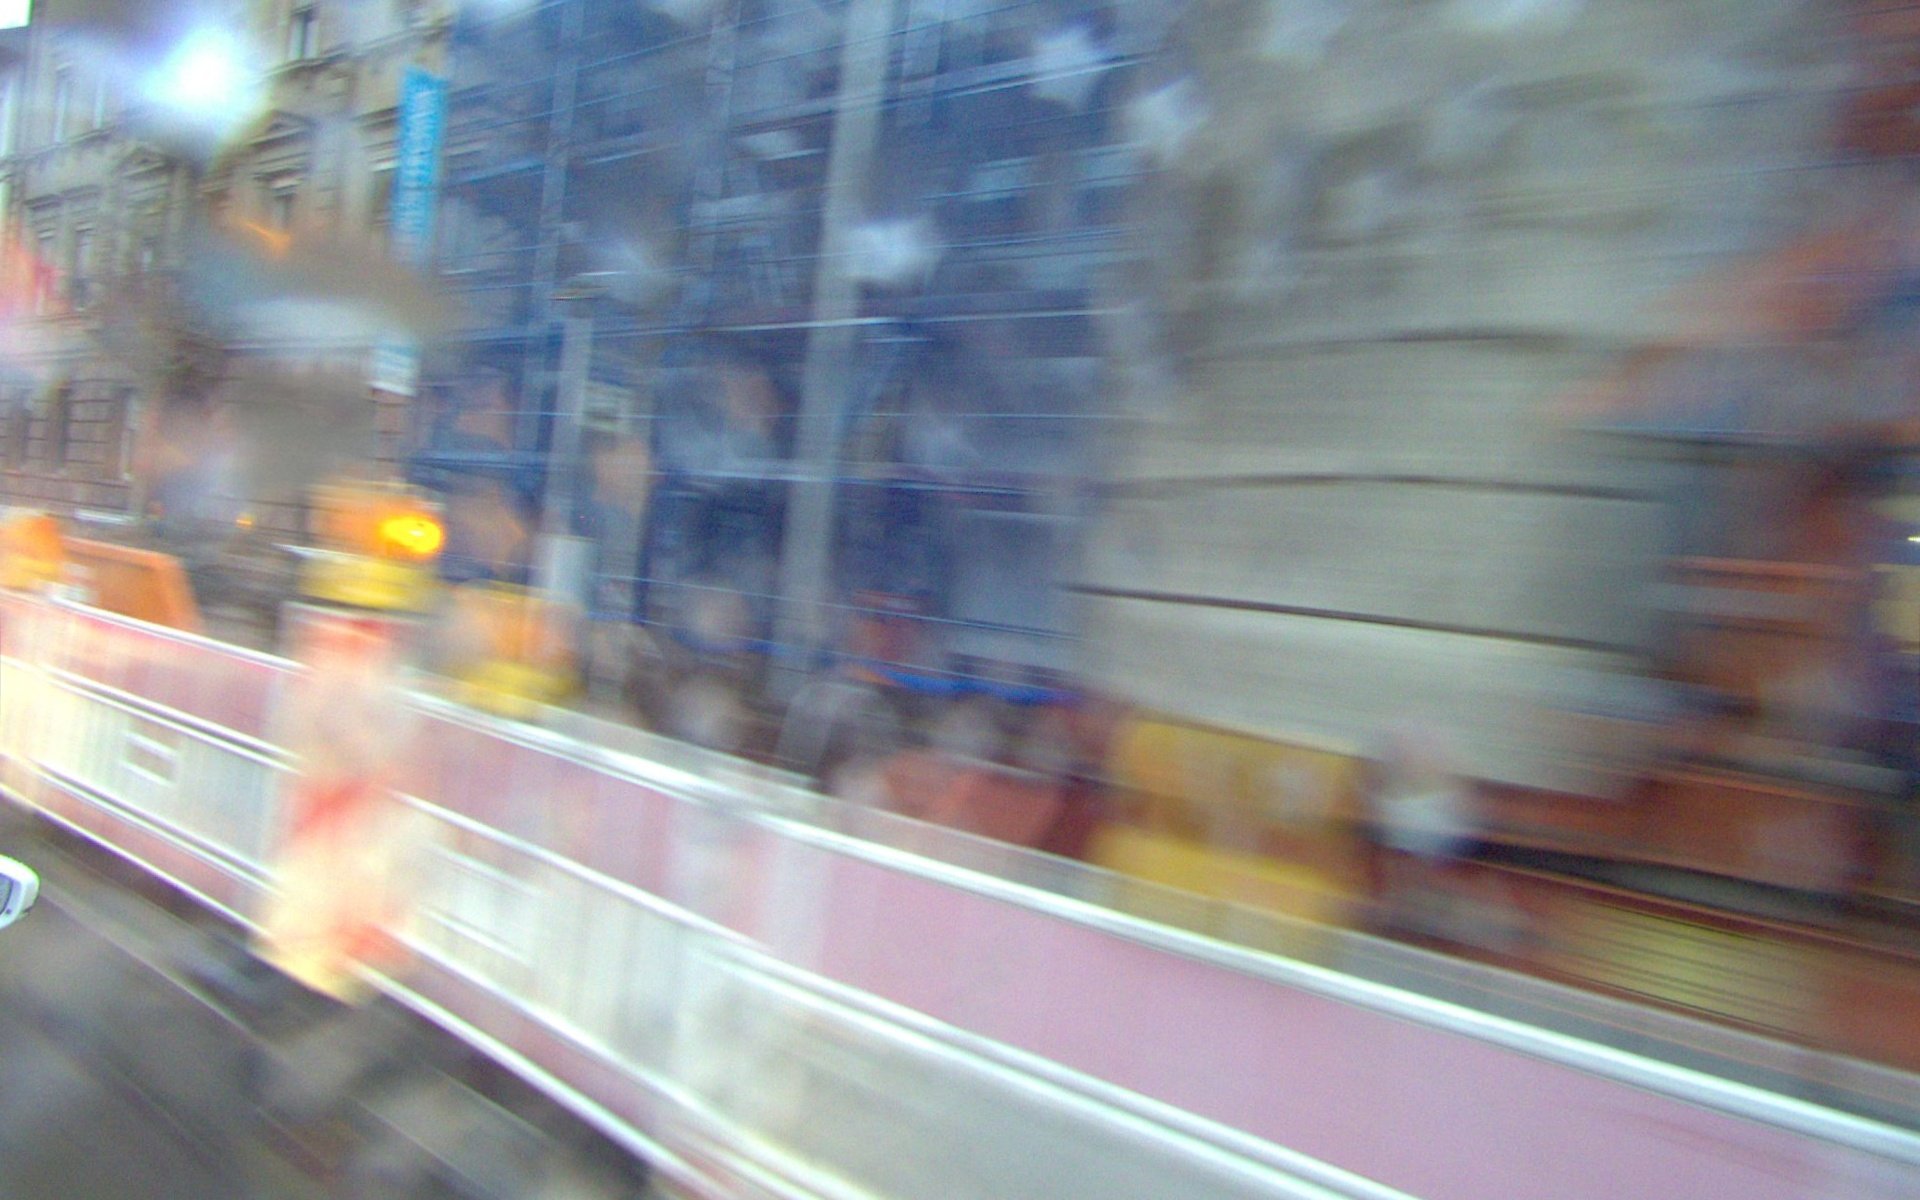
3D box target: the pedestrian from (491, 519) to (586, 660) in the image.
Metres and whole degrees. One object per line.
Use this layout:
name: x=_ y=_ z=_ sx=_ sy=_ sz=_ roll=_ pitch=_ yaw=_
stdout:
pedestrian: x=-5.190 y=-0.120 z=12.401 sx=0.640 sy=1.643 sz=0.711 roll=7 pitch=3 yaw=30

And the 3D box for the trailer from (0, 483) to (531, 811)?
trailer: x=-5.393 y=0.118 z=7.034 sx=4.766 sy=1.508 sz=1.838 roll=7 pitch=0 yaw=31

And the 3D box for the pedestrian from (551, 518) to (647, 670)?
pedestrian: x=-4.364 y=-0.066 z=12.168 sx=0.715 sy=1.732 sz=0.642 roll=7 pitch=2 yaw=31
